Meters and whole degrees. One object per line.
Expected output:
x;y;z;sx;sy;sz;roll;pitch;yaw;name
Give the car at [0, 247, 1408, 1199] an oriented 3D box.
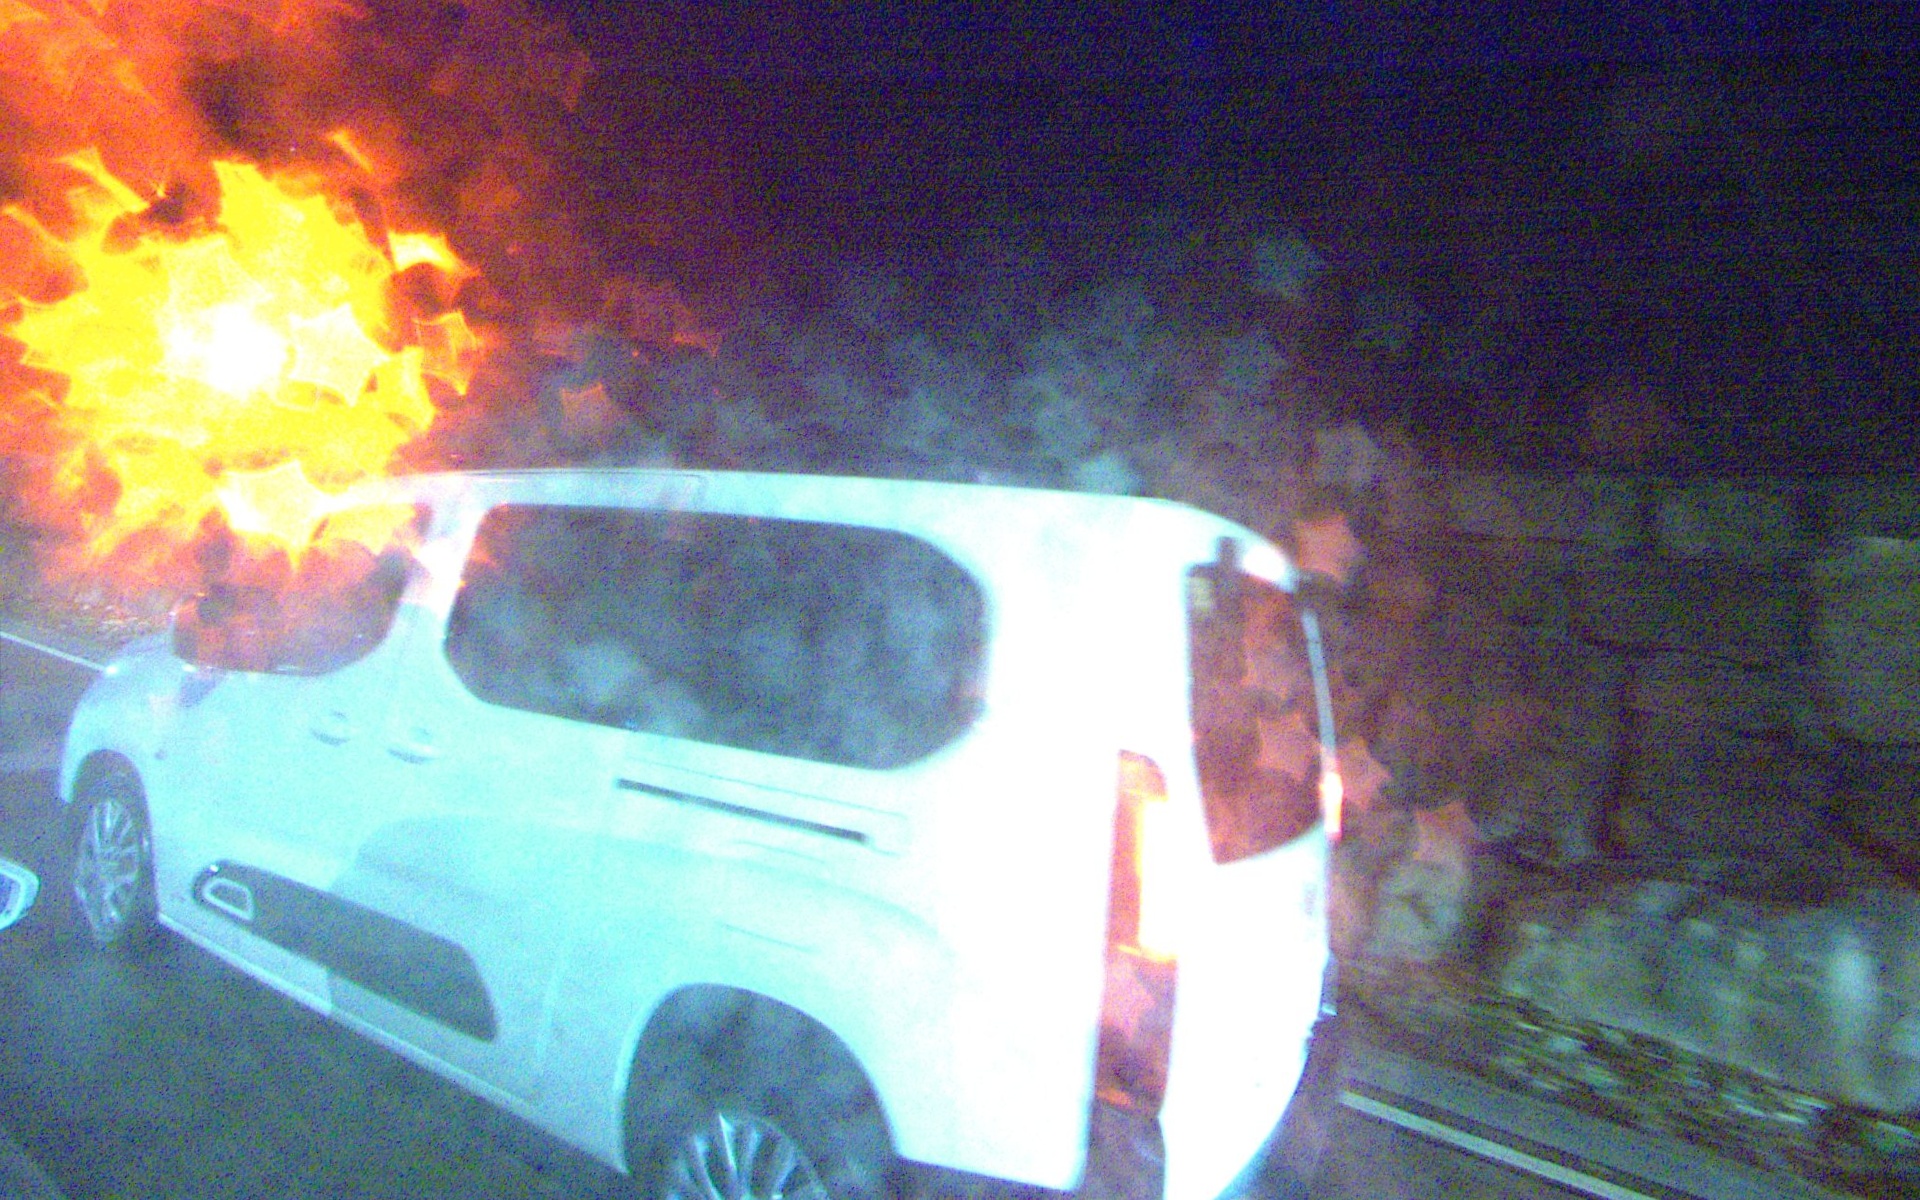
-1.163;0.368;3.336;4.502;2.045;1.795;7;-1;30;car
